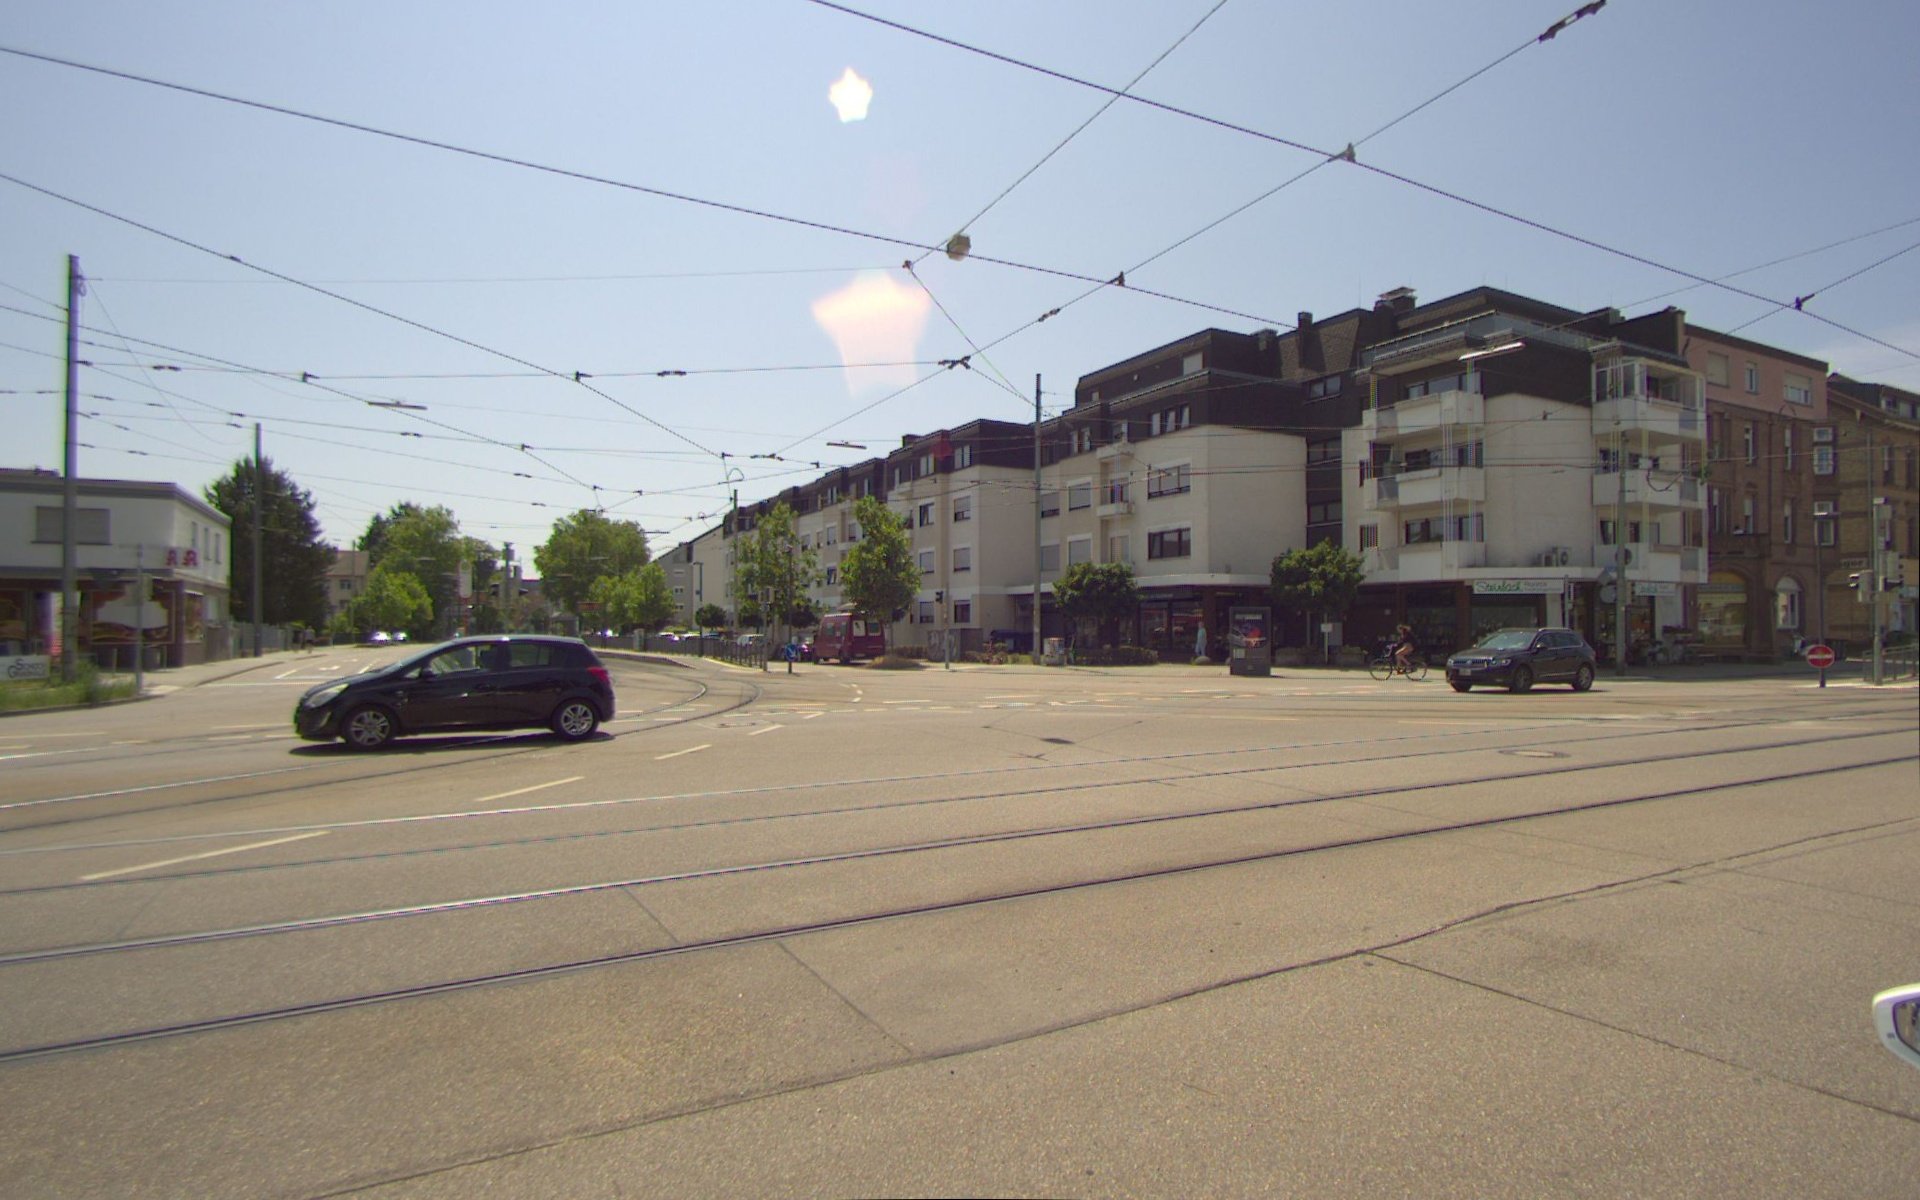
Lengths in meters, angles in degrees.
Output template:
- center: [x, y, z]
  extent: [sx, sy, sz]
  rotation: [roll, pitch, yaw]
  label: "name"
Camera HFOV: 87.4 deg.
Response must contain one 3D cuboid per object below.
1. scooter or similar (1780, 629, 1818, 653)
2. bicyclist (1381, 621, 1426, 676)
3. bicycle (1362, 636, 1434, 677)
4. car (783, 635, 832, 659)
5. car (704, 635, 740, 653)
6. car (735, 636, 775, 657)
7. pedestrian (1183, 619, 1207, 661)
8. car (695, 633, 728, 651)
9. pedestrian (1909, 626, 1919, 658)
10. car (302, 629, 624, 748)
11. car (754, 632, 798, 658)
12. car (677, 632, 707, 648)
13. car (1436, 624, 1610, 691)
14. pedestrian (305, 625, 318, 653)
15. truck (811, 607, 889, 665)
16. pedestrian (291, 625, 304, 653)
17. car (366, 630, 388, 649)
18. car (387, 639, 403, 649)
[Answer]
- center: [39.101, 1.916, 46.812]
  extent: [1.549, 1.096, 0.488]
  rotation: [0, -1, -13]
  label: "scooter or similar"
- center: [14.456, 1.576, 32.757]
  extent: [1.112, 1.785, 0.735]
  rotation: [0, -2, 1]
  label: "bicyclist"
- center: [14.271, 1.836, 32.758]
  extent: [2.063, 1.322, 0.679]
  rotation: [0, -2, 1]
  label: "bicycle"
- center: [-8.316, 2.515, 54.528]
  extent: [1.570, 1.235, 3.556]
  rotation: [1, -2, -28]
  label: "car"
- center: [-16.406, 3.007, 69.048]
  extent: [1.570, 1.256, 3.556]
  rotation: [1, -2, -28]
  label: "car"
- center: [-12.951, 2.891, 63.237]
  extent: [1.570, 1.256, 3.556]
  rotation: [1, -2, -28]
  label: "car"
- center: [9.684, 1.652, 41.374]
  extent: [0.792, 1.719, 0.701]
  rotation: [0, -1, -4]
  label: "pedestrian"
- center: [-18.099, 3.035, 73.076]
  extent: [1.570, 1.256, 3.556]
  rotation: [1, -2, -28]
  label: "car"
- center: [47.785, 2.073, 49.999]
  extent: [0.632, 1.581, 0.612]
  rotation: [0, -2, -29]
  label: "pedestrian"
- center: [-6.833, 1.132, 14.028]
  extent: [3.820, 1.457, 1.701]
  rotation: [1, -2, -31]
  label: "car"
- center: [-10.800, 2.622, 58.797]
  extent: [1.570, 1.452, 3.556]
  rotation: [1, -2, -28]
  label: "car"
- center: [-20.787, 3.091, 77.827]
  extent: [1.570, 1.256, 3.556]
  rotation: [1, -2, -28]
  label: "car"
- center: [14.578, 1.442, 25.990]
  extent: [4.437, 1.600, 1.787]
  rotation: [1, -2, -27]
  label: "car"
- center: [-45.223, 2.694, 70.053]
  extent: [0.671, 1.927, 0.644]
  rotation: [1, -2, -29]
  label: "pedestrian"
- center: [-5.469, 1.766, 49.408]
  extent: [2.160, 2.734, 5.007]
  rotation: [1, -2, -28]
  label: "truck"
- center: [-45.982, 2.676, 69.763]
  extent: [0.671, 1.927, 0.644]
  rotation: [1, -2, -29]
  label: "pedestrian"
- center: [-61.943, 4.171, 106.763]
  extent: [1.976, 2.040, 3.970]
  rotation: [1, -2, -29]
  label: "car"
- center: [-67.060, 5.204, 119.290]
  extent: [1.579, 1.243, 3.274]
  rotation: [1, -2, -29]
  label: "car"
